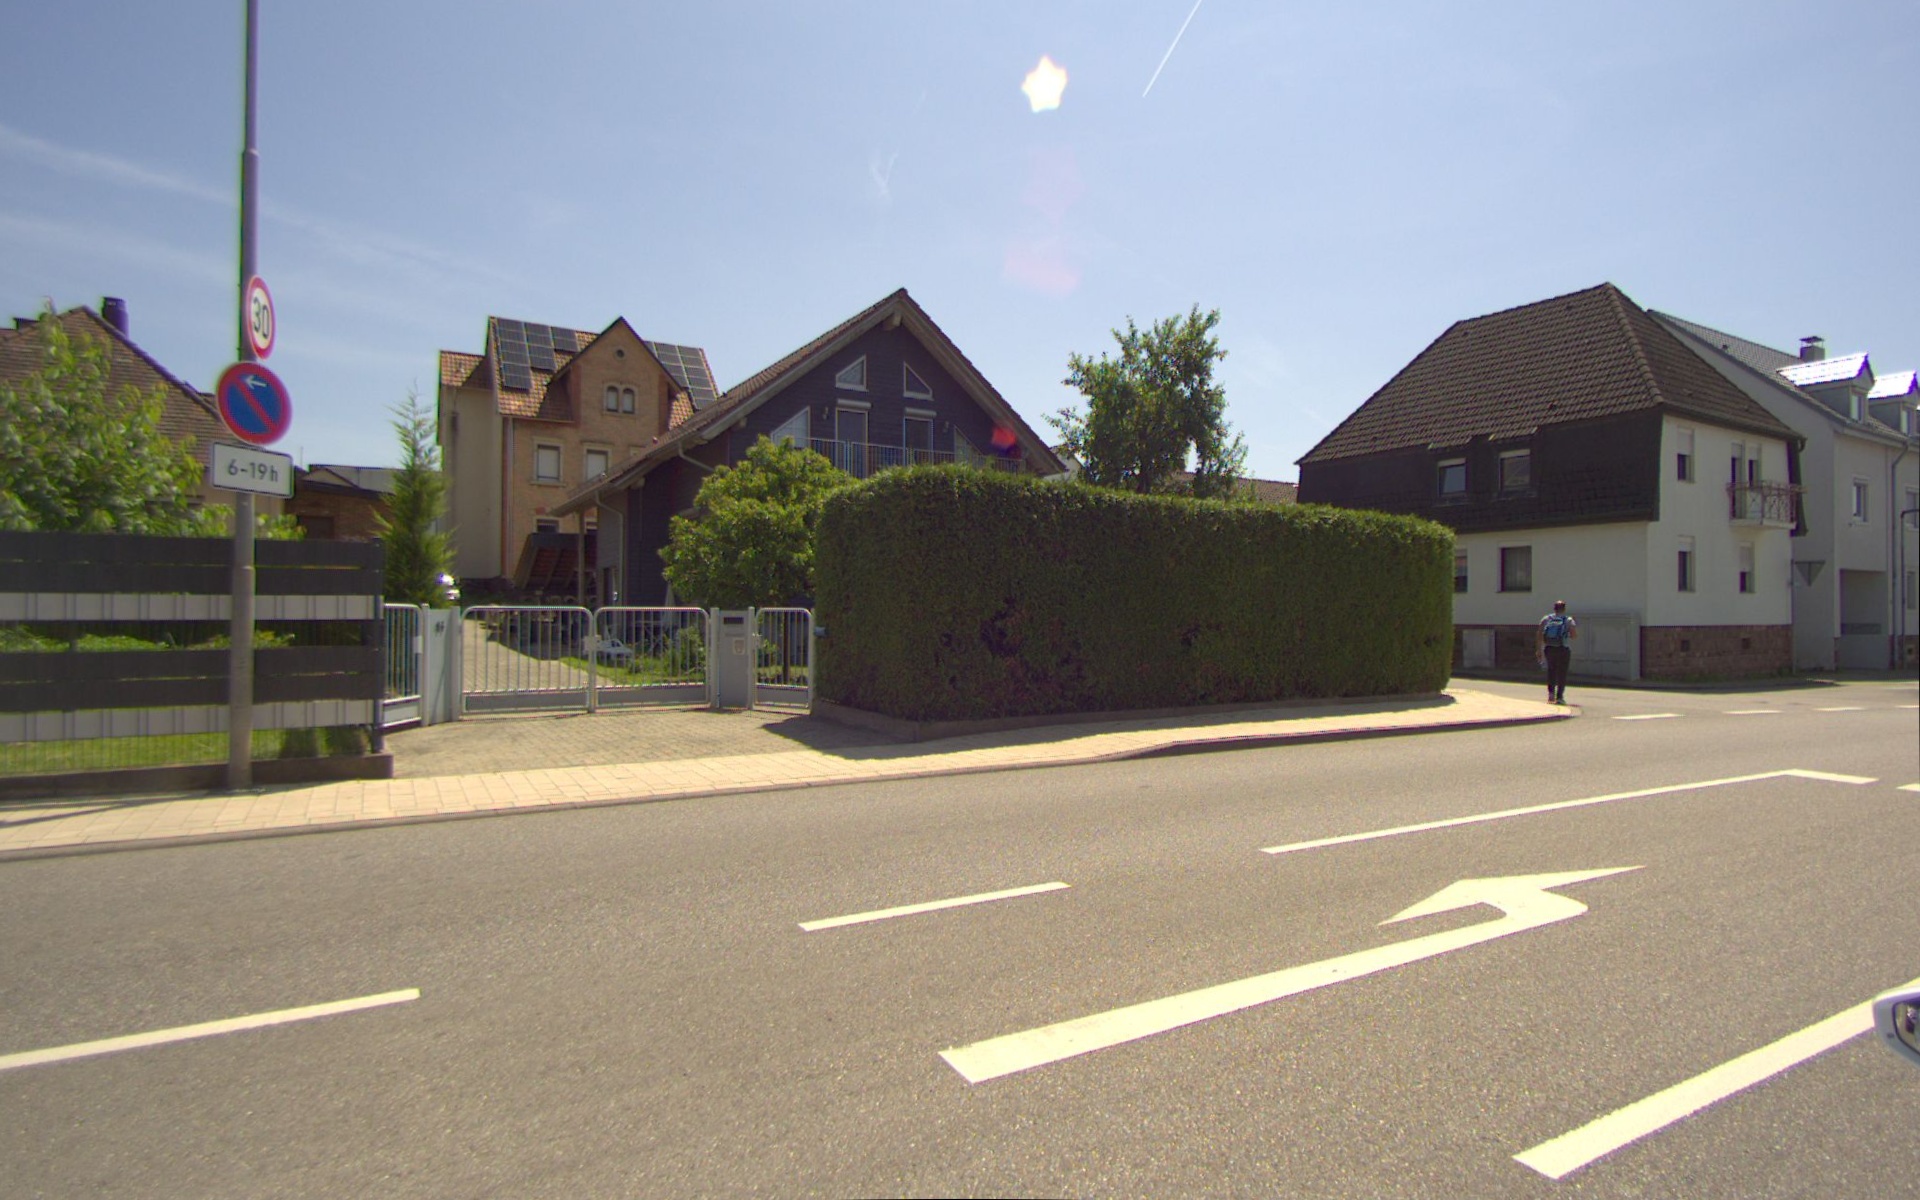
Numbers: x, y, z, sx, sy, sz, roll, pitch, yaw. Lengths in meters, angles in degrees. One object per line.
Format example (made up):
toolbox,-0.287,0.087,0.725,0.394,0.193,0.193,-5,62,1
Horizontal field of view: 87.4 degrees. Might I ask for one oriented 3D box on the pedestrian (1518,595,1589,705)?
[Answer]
pedestrian,10.331,0.849,17.488,0.889,1.847,0.707,2,0,-35
